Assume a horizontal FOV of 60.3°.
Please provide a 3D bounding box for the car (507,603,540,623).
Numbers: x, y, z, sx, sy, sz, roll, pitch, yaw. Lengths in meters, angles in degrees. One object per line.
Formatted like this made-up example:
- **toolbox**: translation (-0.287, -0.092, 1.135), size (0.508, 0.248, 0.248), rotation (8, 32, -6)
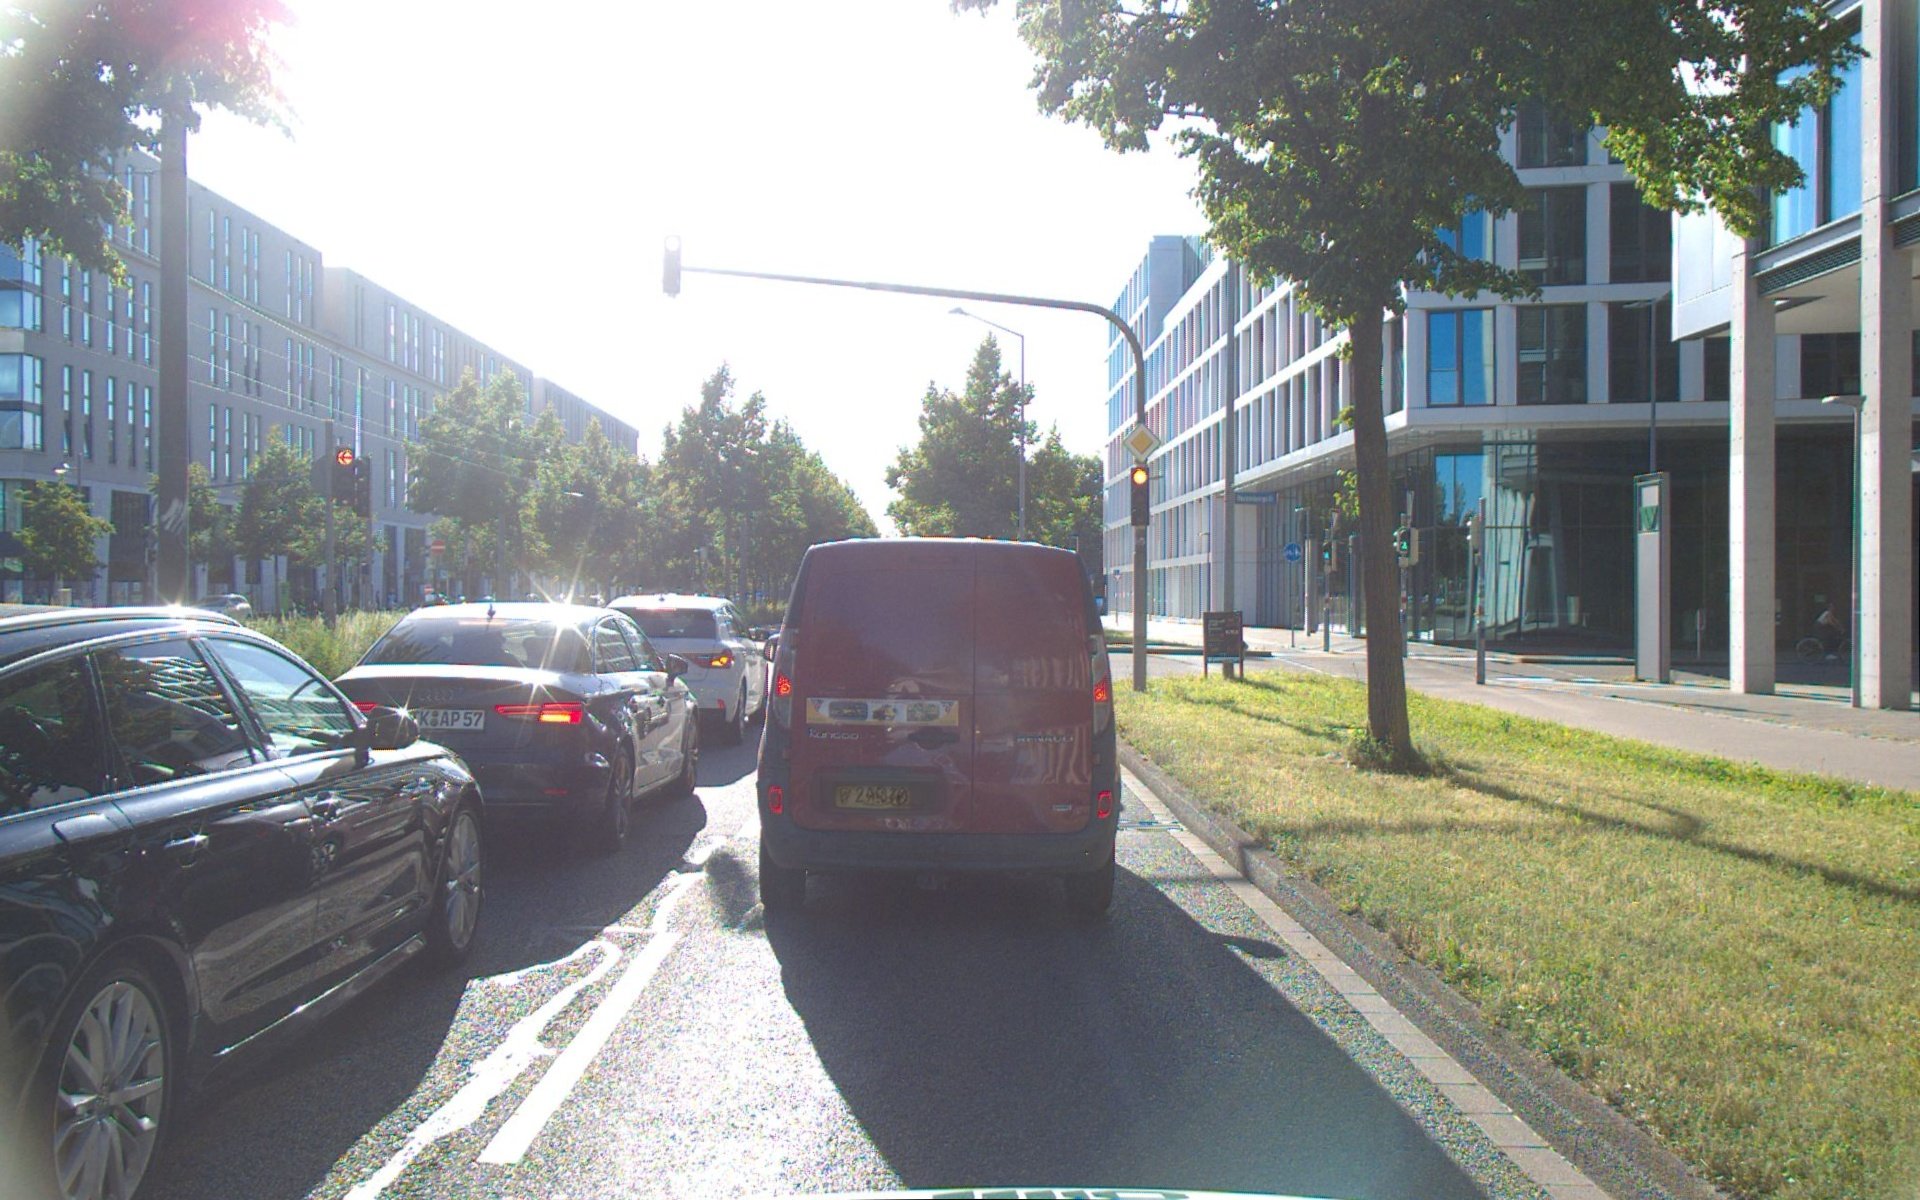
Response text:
- **car**: translation (-35.231, 1.044, 133.465), size (1.740, 1.555, 3.805), rotation (0, 0, -1)

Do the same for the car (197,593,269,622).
- **car**: translation (-34.622, 0.343, 78.841), size (1.548, 1.366, 4.470), rotation (0, 0, -1)

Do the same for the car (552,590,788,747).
- **car**: translation (-2.911, 0.626, 17.453), size (1.771, 1.460, 4.113), rotation (0, 0, 0)

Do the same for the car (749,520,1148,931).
- **car**: translation (-0.052, 0.551, 9.421), size (1.771, 1.825, 4.113), rotation (0, 0, 0)

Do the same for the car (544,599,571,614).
- **car**: translation (-36.160, 0.584, 148.697), size (1.548, 1.366, 3.711), rotation (0, 0, -1)

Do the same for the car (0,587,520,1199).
- **car**: translation (-2.738, 0.704, 4.822), size (1.771, 1.482, 4.507), rotation (0, 0, -1)

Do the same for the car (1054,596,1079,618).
- **car**: translation (8.209, 0.526, 127.985), size (1.722, 1.640, 3.903), rotation (0, 0, 0)

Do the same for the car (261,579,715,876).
- **car**: translation (-2.786, 0.660, 10.748), size (1.771, 1.554, 4.113), rotation (0, 0, 0)
